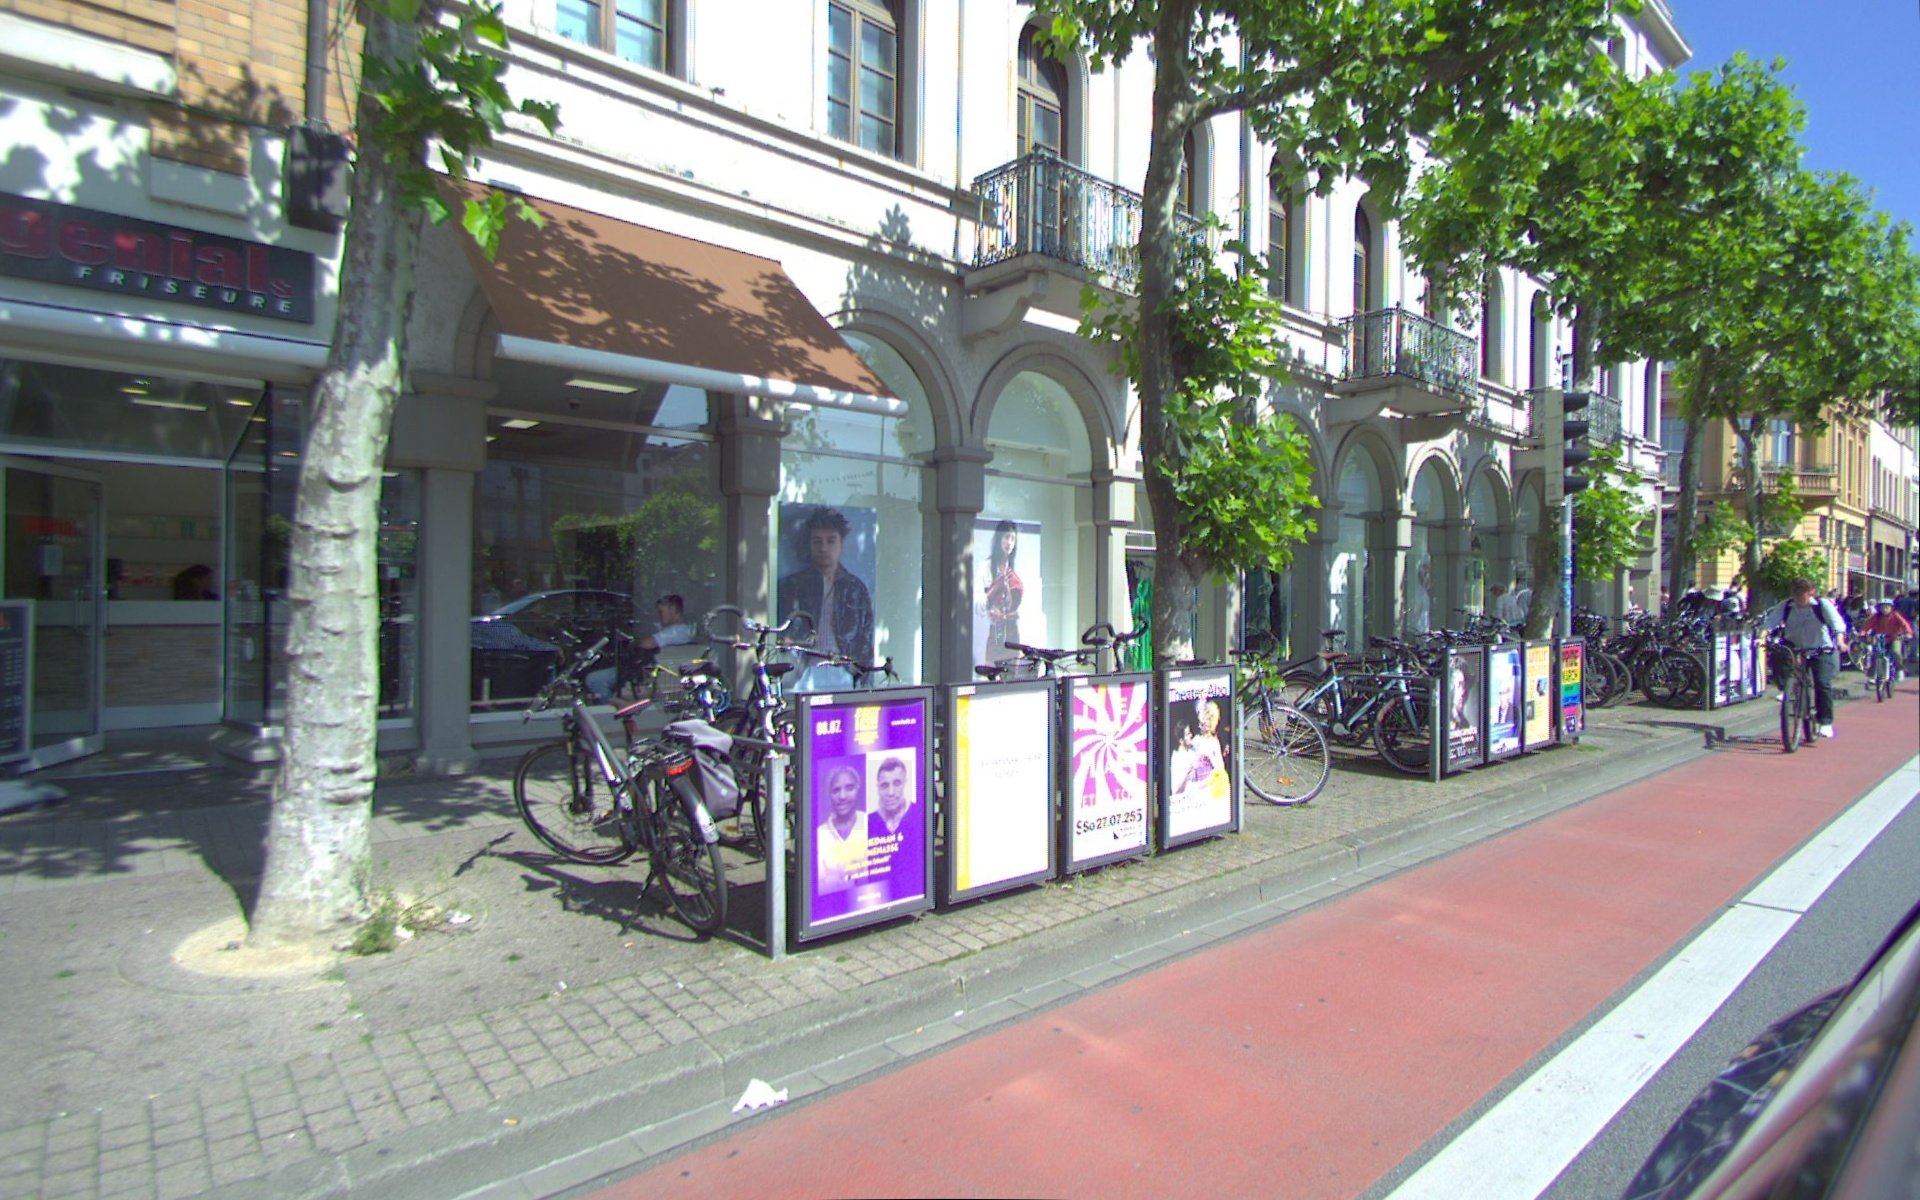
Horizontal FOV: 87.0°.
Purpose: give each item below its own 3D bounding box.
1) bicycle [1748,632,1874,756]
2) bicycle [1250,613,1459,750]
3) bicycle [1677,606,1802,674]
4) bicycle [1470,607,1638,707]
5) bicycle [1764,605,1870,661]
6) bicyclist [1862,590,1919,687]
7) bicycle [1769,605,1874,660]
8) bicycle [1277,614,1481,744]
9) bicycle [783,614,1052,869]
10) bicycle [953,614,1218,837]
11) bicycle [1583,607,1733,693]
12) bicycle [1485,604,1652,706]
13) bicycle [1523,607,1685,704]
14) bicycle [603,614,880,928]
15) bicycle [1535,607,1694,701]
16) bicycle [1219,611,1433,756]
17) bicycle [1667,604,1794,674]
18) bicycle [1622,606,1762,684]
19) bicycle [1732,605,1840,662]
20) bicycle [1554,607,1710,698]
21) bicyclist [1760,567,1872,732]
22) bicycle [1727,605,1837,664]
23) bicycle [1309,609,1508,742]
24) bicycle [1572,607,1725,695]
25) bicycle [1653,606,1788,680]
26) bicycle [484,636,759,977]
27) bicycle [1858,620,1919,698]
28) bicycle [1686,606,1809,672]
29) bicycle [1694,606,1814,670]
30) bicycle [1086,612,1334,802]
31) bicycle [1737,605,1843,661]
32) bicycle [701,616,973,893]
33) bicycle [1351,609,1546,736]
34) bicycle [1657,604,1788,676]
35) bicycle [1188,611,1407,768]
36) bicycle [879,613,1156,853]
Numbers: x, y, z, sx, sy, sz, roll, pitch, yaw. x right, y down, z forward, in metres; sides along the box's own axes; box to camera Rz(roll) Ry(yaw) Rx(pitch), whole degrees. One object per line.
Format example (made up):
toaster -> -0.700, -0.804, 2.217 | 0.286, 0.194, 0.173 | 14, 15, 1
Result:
bicycle -> 8.701, 0.902, 10.321 | 1.865, 1.107, 0.735 | 0, -1, -42
bicycle -> 3.563, 0.693, 9.266 | 0.474, 1.101, 1.755 | 1, 0, -42
bicycle -> 14.370, 0.705, 18.691 | 0.582, 1.161, 1.755 | 1, 0, -42
bicycle -> 7.499, 0.683, 12.841 | 0.474, 1.161, 1.776 | 1, 0, -42
bicycle -> 19.092, 0.719, 22.572 | 0.582, 1.161, 1.755 | 1, 0, -42
bicyclist -> 14.139, 0.564, 15.268 | 0.765, 1.414, 0.689 | 1, -1, -42
bicycle -> 19.596, 0.721, 23.049 | 0.582, 1.161, 1.755 | 1, 0, -42
bicycle -> 3.923, 0.694, 9.592 | 0.474, 1.082, 1.755 | 1, 0, -42
bicycle -> -0.301, 0.685, 5.618 | 0.474, 1.161, 1.755 | 1, 0, -42
bicycle -> 0.718, 0.692, 6.310 | 0.474, 1.161, 1.755 | 1, 0, -42
bicycle -> 10.238, 0.699, 14.902 | 0.474, 1.161, 1.755 | 1, 0, -42
bicycle -> 7.898, 0.675, 13.200 | 0.474, 1.209, 1.802 | 1, 0, -42
bicycle -> 8.497, 0.697, 13.415 | 0.474, 1.161, 1.755 | 1, 0, -42
bicycle -> -1.109, 0.689, 4.831 | 0.474, 1.202, 1.755 | 1, 0, -42
bicycle -> 8.878, 0.700, 13.781 | 0.474, 1.161, 1.755 | 1, 0, -42
bicycle -> 3.171, 0.676, 8.910 | 0.474, 1.119, 1.755 | 1, 0, -42
bicycle -> 13.871, 0.672, 18.253 | 0.582, 1.161, 1.755 | 1, 0, -42
bicycle -> 11.821, 0.702, 16.384 | 0.582, 1.161, 1.755 | 1, 0, -42
bicycle -> 17.966, 0.711, 22.031 | 0.582, 1.161, 1.755 | 1, 0, -42
bicycle -> 9.371, 0.700, 14.163 | 0.474, 1.161, 1.755 | 1, 0, -42
bicyclist -> 8.758, 0.487, 10.363 | 0.765, 1.597, 0.749 | 1, -1, -42
bicycle -> 17.443, 0.711, 21.500 | 0.582, 1.161, 1.755 | 1, 0, -42
bicycle -> 4.389, 0.694, 10.004 | 0.474, 1.161, 1.755 | 1, 0, -42
bicycle -> 9.856, 0.698, 14.546 | 0.474, 1.161, 1.755 | 1, 0, -42
bicycle -> 12.869, 0.705, 17.173 | 0.582, 1.161, 1.755 | 1, 0, -42
bicycle -> -1.550, 0.768, 4.436 | 0.474, 1.137, 1.755 | 1, 0, -42
bicycle -> 14.104, 0.851, 15.196 | 1.788, 1.107, 0.735 | 1, -1, -42
bicycle -> 14.839, 0.708, 19.098 | 0.582, 1.161, 1.755 | 1, 0, -42
bicycle -> 15.329, 0.707, 19.582 | 0.582, 1.161, 1.755 | 1, 0, -42
bicycle -> 1.729, 0.688, 7.231 | 0.474, 1.161, 1.755 | 1, 0, -42
bicycle -> 18.385, 0.712, 22.450 | 0.582, 1.173, 1.755 | 1, 0, -42
bicycle -> -0.704, 0.689, 5.244 | 0.474, 1.161, 1.755 | 1, 0, -42
bicycle -> 4.969, 0.694, 10.395 | 0.474, 1.161, 1.755 | 1, 0, -42
bicycle -> 13.355, 0.675, 17.756 | 0.582, 1.161, 1.755 | 1, 0, -42
bicycle -> 2.801, 0.692, 8.564 | 0.474, 1.161, 1.755 | 1, 0, -42
bicycle -> 0.270, 0.678, 5.910 | 0.518, 1.161, 1.755 | 1, 0, -42
